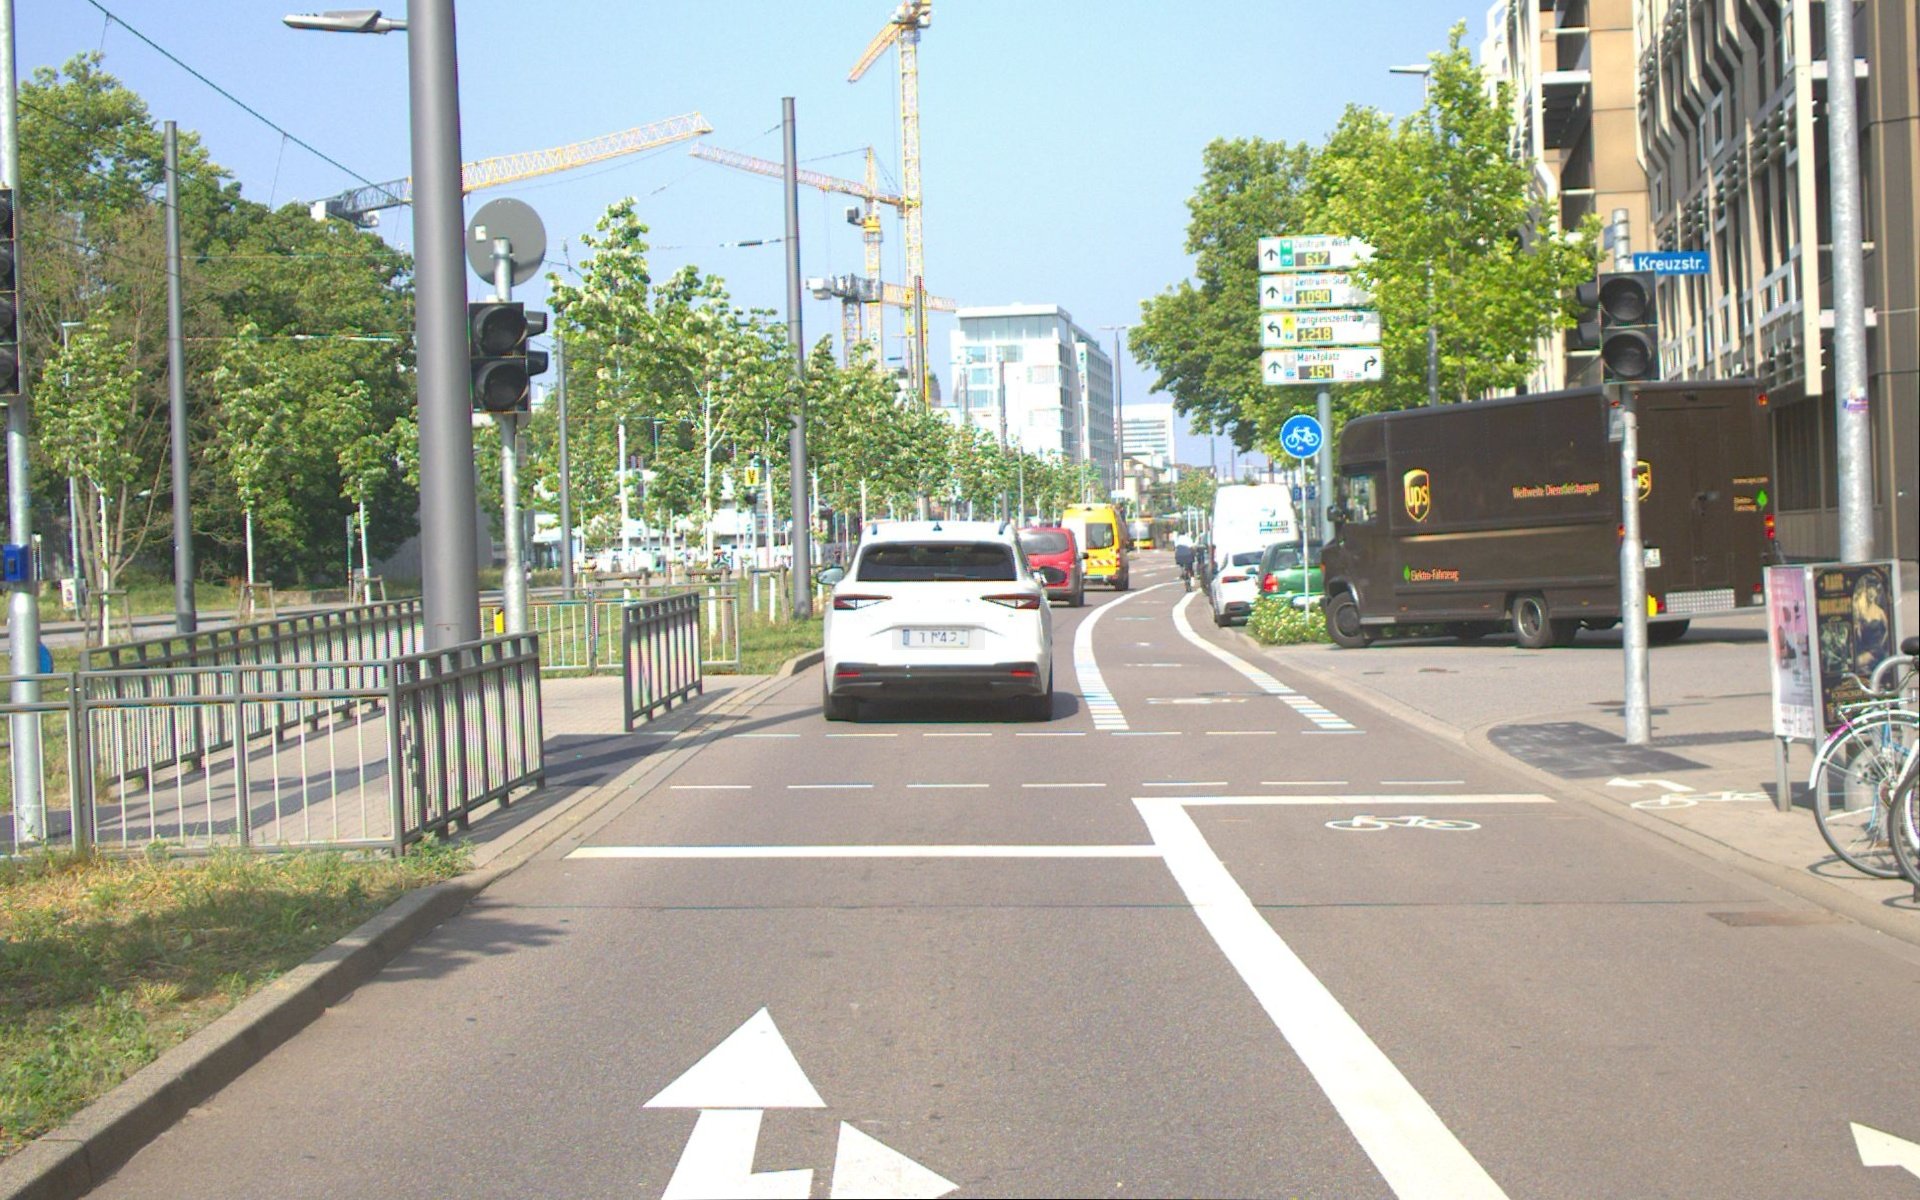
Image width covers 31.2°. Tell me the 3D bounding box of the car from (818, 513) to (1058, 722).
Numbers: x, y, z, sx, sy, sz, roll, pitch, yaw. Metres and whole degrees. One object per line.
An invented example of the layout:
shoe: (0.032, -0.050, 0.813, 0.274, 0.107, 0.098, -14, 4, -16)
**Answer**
car: (-0.260, 0.106, 28.630, 1.817, 1.584, 4.407, -1, 1, -2)

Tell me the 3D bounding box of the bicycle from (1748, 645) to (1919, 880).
bicycle: (4.417, 0.655, 14.735, 1.934, 0.942, 0.428, -3, 1, 2)

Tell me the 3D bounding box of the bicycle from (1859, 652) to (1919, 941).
bicycle: (4.321, 0.657, 12.507, 1.934, 1.009, 0.440, -3, 1, 2)

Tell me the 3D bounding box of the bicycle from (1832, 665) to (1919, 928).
bicycle: (4.337, 0.687, 12.963, 1.934, 0.942, 0.440, -3, 1, 2)

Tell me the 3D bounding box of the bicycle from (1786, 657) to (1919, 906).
bicycle: (4.365, 0.683, 13.827, 1.934, 0.942, 0.428, -3, 1, 2)

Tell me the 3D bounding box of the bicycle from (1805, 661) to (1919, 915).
bicycle: (4.351, 0.685, 13.443, 1.934, 0.942, 0.440, -3, 1, 2)

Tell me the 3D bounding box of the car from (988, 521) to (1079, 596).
car: (1.764, -1.003, 81.233, 1.994, 1.678, 4.369, -1, 1, 3)

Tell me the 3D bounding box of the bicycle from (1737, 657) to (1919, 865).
bicycle: (4.499, 0.686, 15.414, 1.887, 0.860, 0.428, -3, 1, 2)

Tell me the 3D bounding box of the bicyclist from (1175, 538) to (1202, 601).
bicyclist: (7.015, -0.946, 105.467, 0.709, 1.889, 0.843, -1, 1, -1)

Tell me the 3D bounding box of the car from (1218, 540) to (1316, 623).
car: (5.448, -0.344, 61.083, 1.650, 1.380, 3.526, -1, 1, 5)

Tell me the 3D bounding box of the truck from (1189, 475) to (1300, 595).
truck: (6.165, -1.420, 74.811, 1.993, 2.500, 4.000, -1, 1, 0)

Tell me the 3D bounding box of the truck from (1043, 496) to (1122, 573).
truck: (3.835, -2.063, 108.626, 2.213, 2.310, 5.890, -1, 1, 0)

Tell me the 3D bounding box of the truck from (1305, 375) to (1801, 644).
truck: (7.094, -1.072, 42.236, 2.509, 3.001, 6.961, -2, 1, -24)

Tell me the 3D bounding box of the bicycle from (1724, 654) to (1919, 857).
bicycle: (4.537, 0.685, 15.857, 1.887, 0.860, 0.428, -3, 1, 2)

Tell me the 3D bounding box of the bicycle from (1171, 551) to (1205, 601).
bicycle: (7.014, -0.738, 105.766, 0.781, 1.491, 2.801, -1, 1, -1)

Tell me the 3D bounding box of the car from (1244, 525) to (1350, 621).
car: (5.528, -0.466, 56.604, 1.650, 1.494, 3.526, -1, 1, 5)

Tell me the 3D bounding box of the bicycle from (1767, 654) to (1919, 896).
bicycle: (4.394, 0.681, 14.270, 1.934, 0.942, 0.428, -3, 1, 2)

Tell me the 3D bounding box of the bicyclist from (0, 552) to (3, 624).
bicyclist: (-20.437, -0.237, 71.485, 0.696, 1.510, 1.186, -1, 1, 0)

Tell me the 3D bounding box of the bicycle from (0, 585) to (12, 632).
bicycle: (-20.420, 0.199, 71.306, 0.696, 0.987, 2.824, -1, 1, 0)
